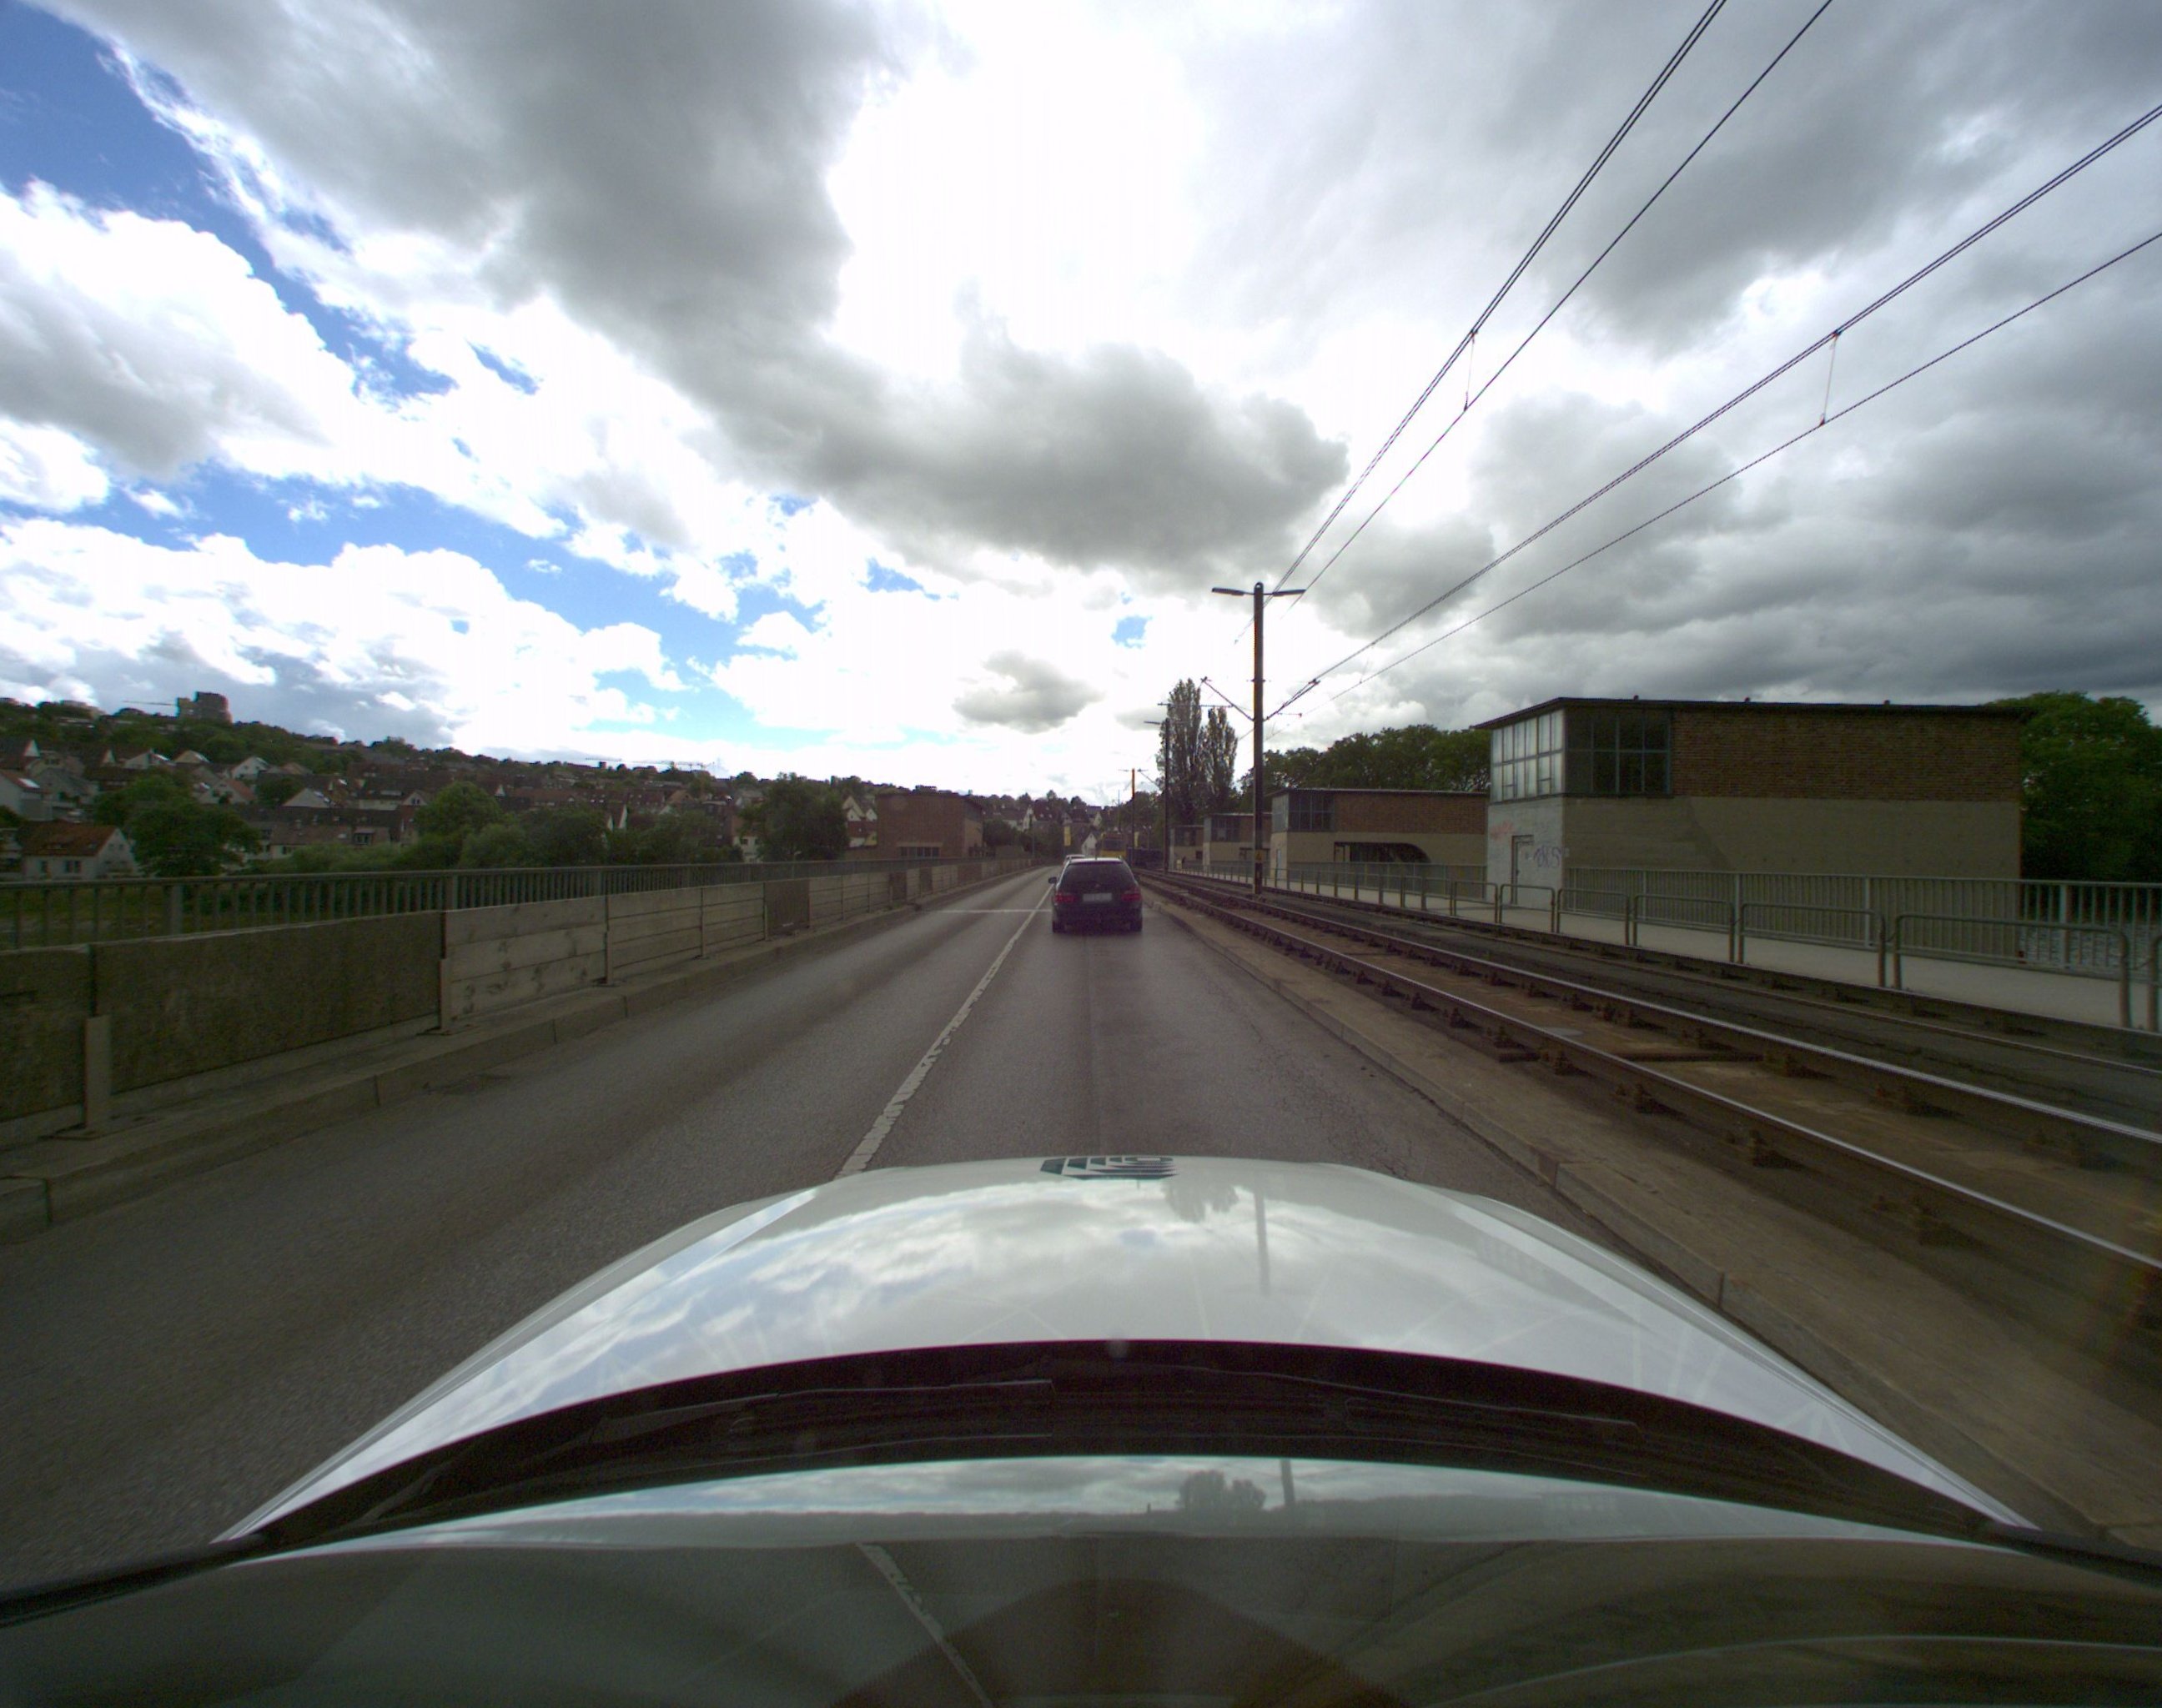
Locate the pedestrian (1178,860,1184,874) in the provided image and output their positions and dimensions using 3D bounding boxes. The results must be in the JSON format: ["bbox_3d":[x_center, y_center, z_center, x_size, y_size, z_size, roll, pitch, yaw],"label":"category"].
[{"bbox_3d":[11.368,1.438,92.863,0.575,1.610,0.612,0,-1,0],"label":"pedestrian"}]

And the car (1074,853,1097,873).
[{"bbox_3d":[0.382,0.725,68.924,1.787,1.555,4.385,-2,0,1],"label":"car"}]

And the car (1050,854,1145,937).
[{"bbox_3d":[0.348,0.770,17.407,1.753,1.515,4.443,-1,0,1],"label":"car"}]

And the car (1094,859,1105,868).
[{"bbox_3d":[3.200,1.642,143.171,1.764,1.512,4.240,1,0,0],"label":"car"}]

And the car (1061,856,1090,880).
[{"bbox_3d":[-0.380,0.890,54.109,1.766,1.555,4.236,0,0,-3],"label":"car"}]

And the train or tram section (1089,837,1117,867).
[{"bbox_3d":[2.824,-0.154,109.081,2.821,3.580,18.657,-1,0,-1],"label":"train or tram section"}]

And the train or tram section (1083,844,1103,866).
[{"bbox_3d":[2.140,0.340,148.270,2.785,3.764,19.877,1,-1,-1],"label":"train or tram section"}]

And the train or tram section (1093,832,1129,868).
[{"bbox_3d":[3.135,-0.300,90.423,2.874,3.509,18.657,-1,0,-1],"label":"train or tram section"}]
